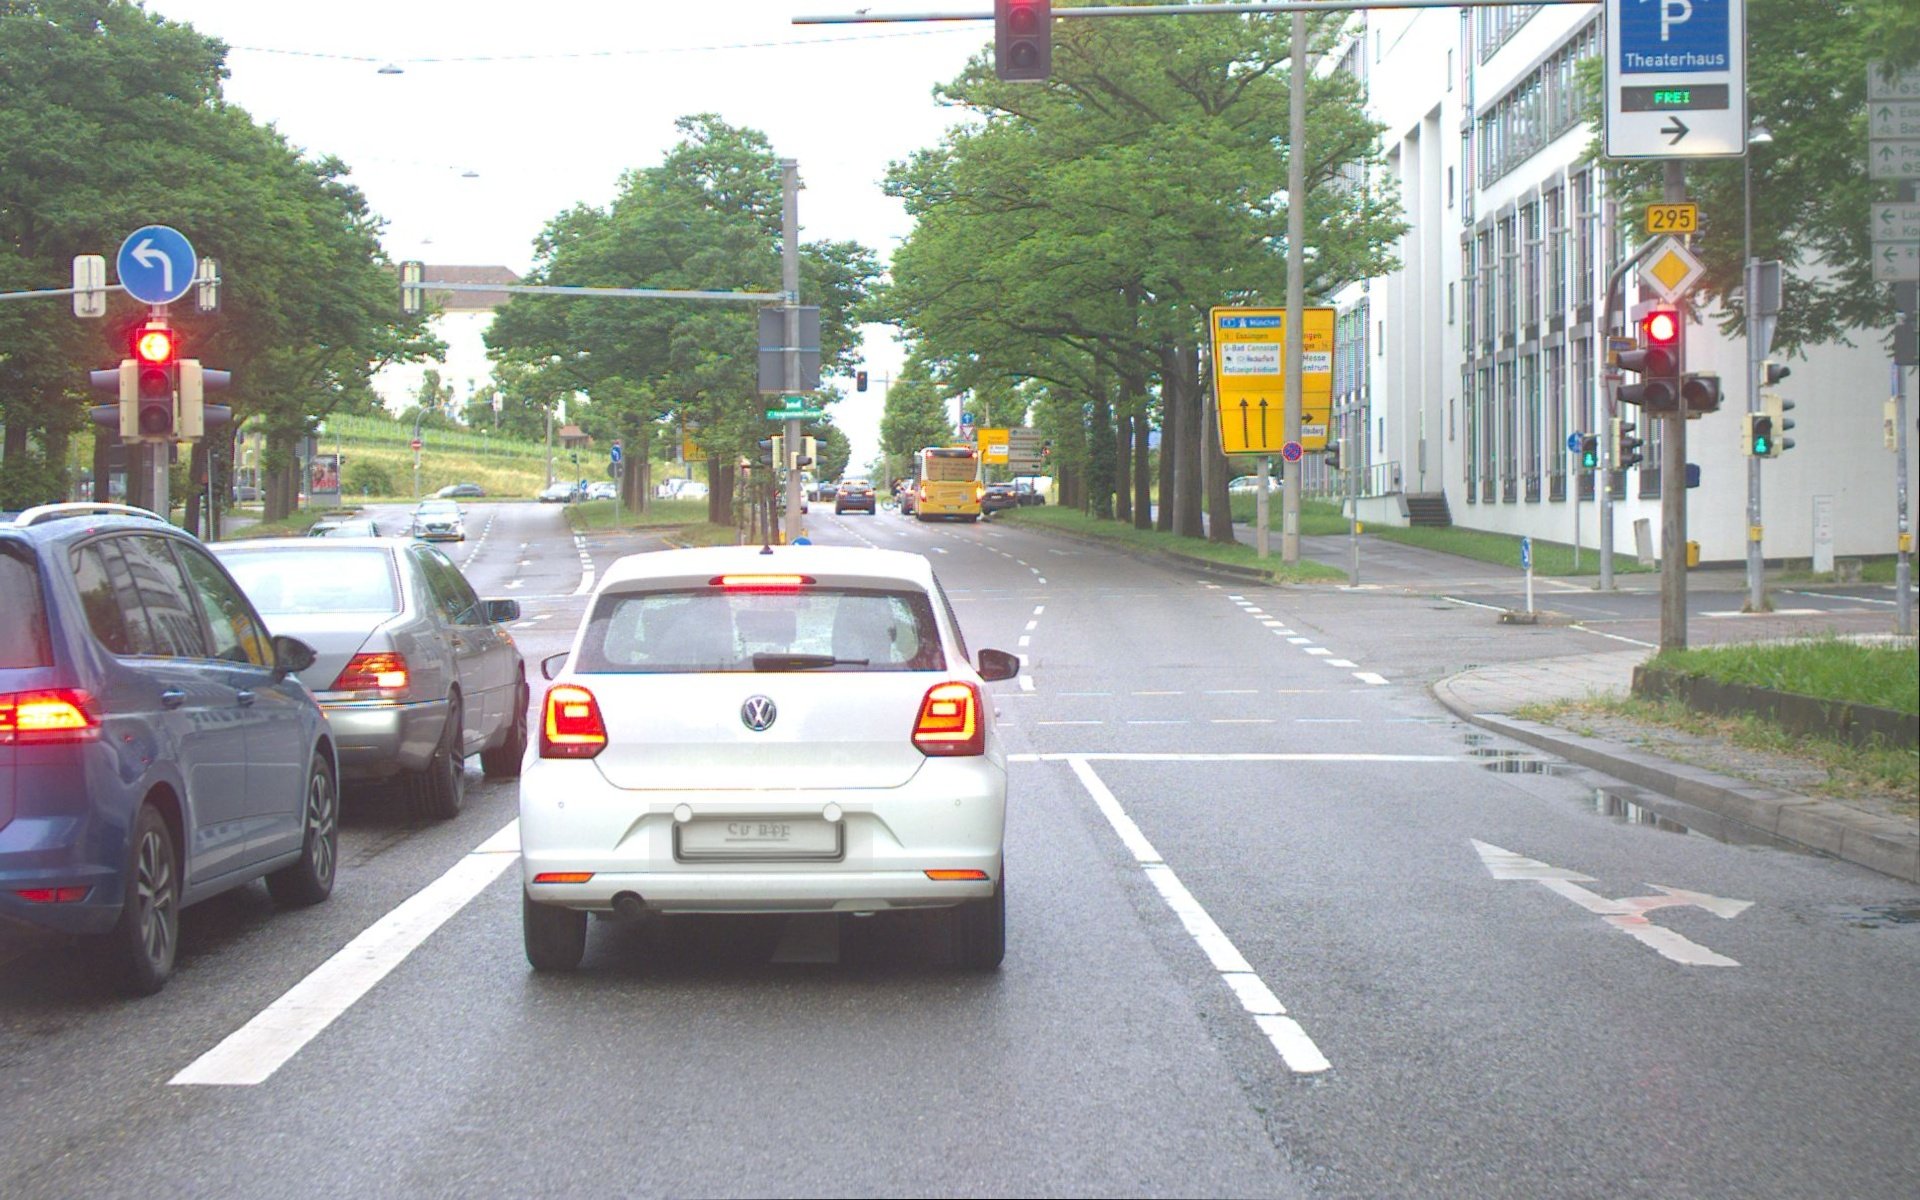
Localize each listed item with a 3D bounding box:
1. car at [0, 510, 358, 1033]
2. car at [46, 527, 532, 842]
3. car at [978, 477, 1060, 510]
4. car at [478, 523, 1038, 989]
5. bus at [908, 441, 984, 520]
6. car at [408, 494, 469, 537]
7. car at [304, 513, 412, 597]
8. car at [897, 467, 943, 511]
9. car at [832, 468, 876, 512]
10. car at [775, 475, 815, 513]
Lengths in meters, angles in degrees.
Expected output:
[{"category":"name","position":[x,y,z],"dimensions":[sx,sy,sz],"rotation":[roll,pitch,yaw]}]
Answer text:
[{"category":"car","position":[-3.506,0.490,12.596],"dimensions":[1.772,1.591,4.197],"rotation":[-1,1,1]},{"category":"car","position":[-3.569,0.376,19.013],"dimensions":[1.847,1.505,4.048],"rotation":[-1,1,0]},{"category":"car","position":[2.756,-4.943,159.678],"dimensions":[1.699,1.510,3.818],"rotation":[0,2,43]},{"category":"car","position":[-0.695,0.457,13.049],"dimensions":[1.794,1.497,4.000],"rotation":[0,1,-1]},{"category":"bus","position":[-0.654,-5.141,147.330],"dimensions":[2.828,3.255,10.002],"rotation":[0,2,-2]},{"category":"car","position":[-18.641,-3.049,123.053],"dimensions":[1.814,1.406,4.657],"rotation":[-2,2,-5]},{"category":"car","position":[-11.790,-0.911,67.509],"dimensions":[1.750,1.515,3.818],"rotation":[-2,2,-5]},{"category":"car","position":[-1.886,-5.191,160.822],"dimensions":[1.993,2.007,4.001],"rotation":[-1,1,-2]},{"category":"car","position":[-4.951,-5.095,159.800],"dimensions":[1.993,2.007,4.001],"rotation":[-1,1,-2]},{"category":"car","position":[-7.777,-4.956,161.405],"dimensions":[1.794,1.735,4.001],"rotation":[-1,2,-3]}]
